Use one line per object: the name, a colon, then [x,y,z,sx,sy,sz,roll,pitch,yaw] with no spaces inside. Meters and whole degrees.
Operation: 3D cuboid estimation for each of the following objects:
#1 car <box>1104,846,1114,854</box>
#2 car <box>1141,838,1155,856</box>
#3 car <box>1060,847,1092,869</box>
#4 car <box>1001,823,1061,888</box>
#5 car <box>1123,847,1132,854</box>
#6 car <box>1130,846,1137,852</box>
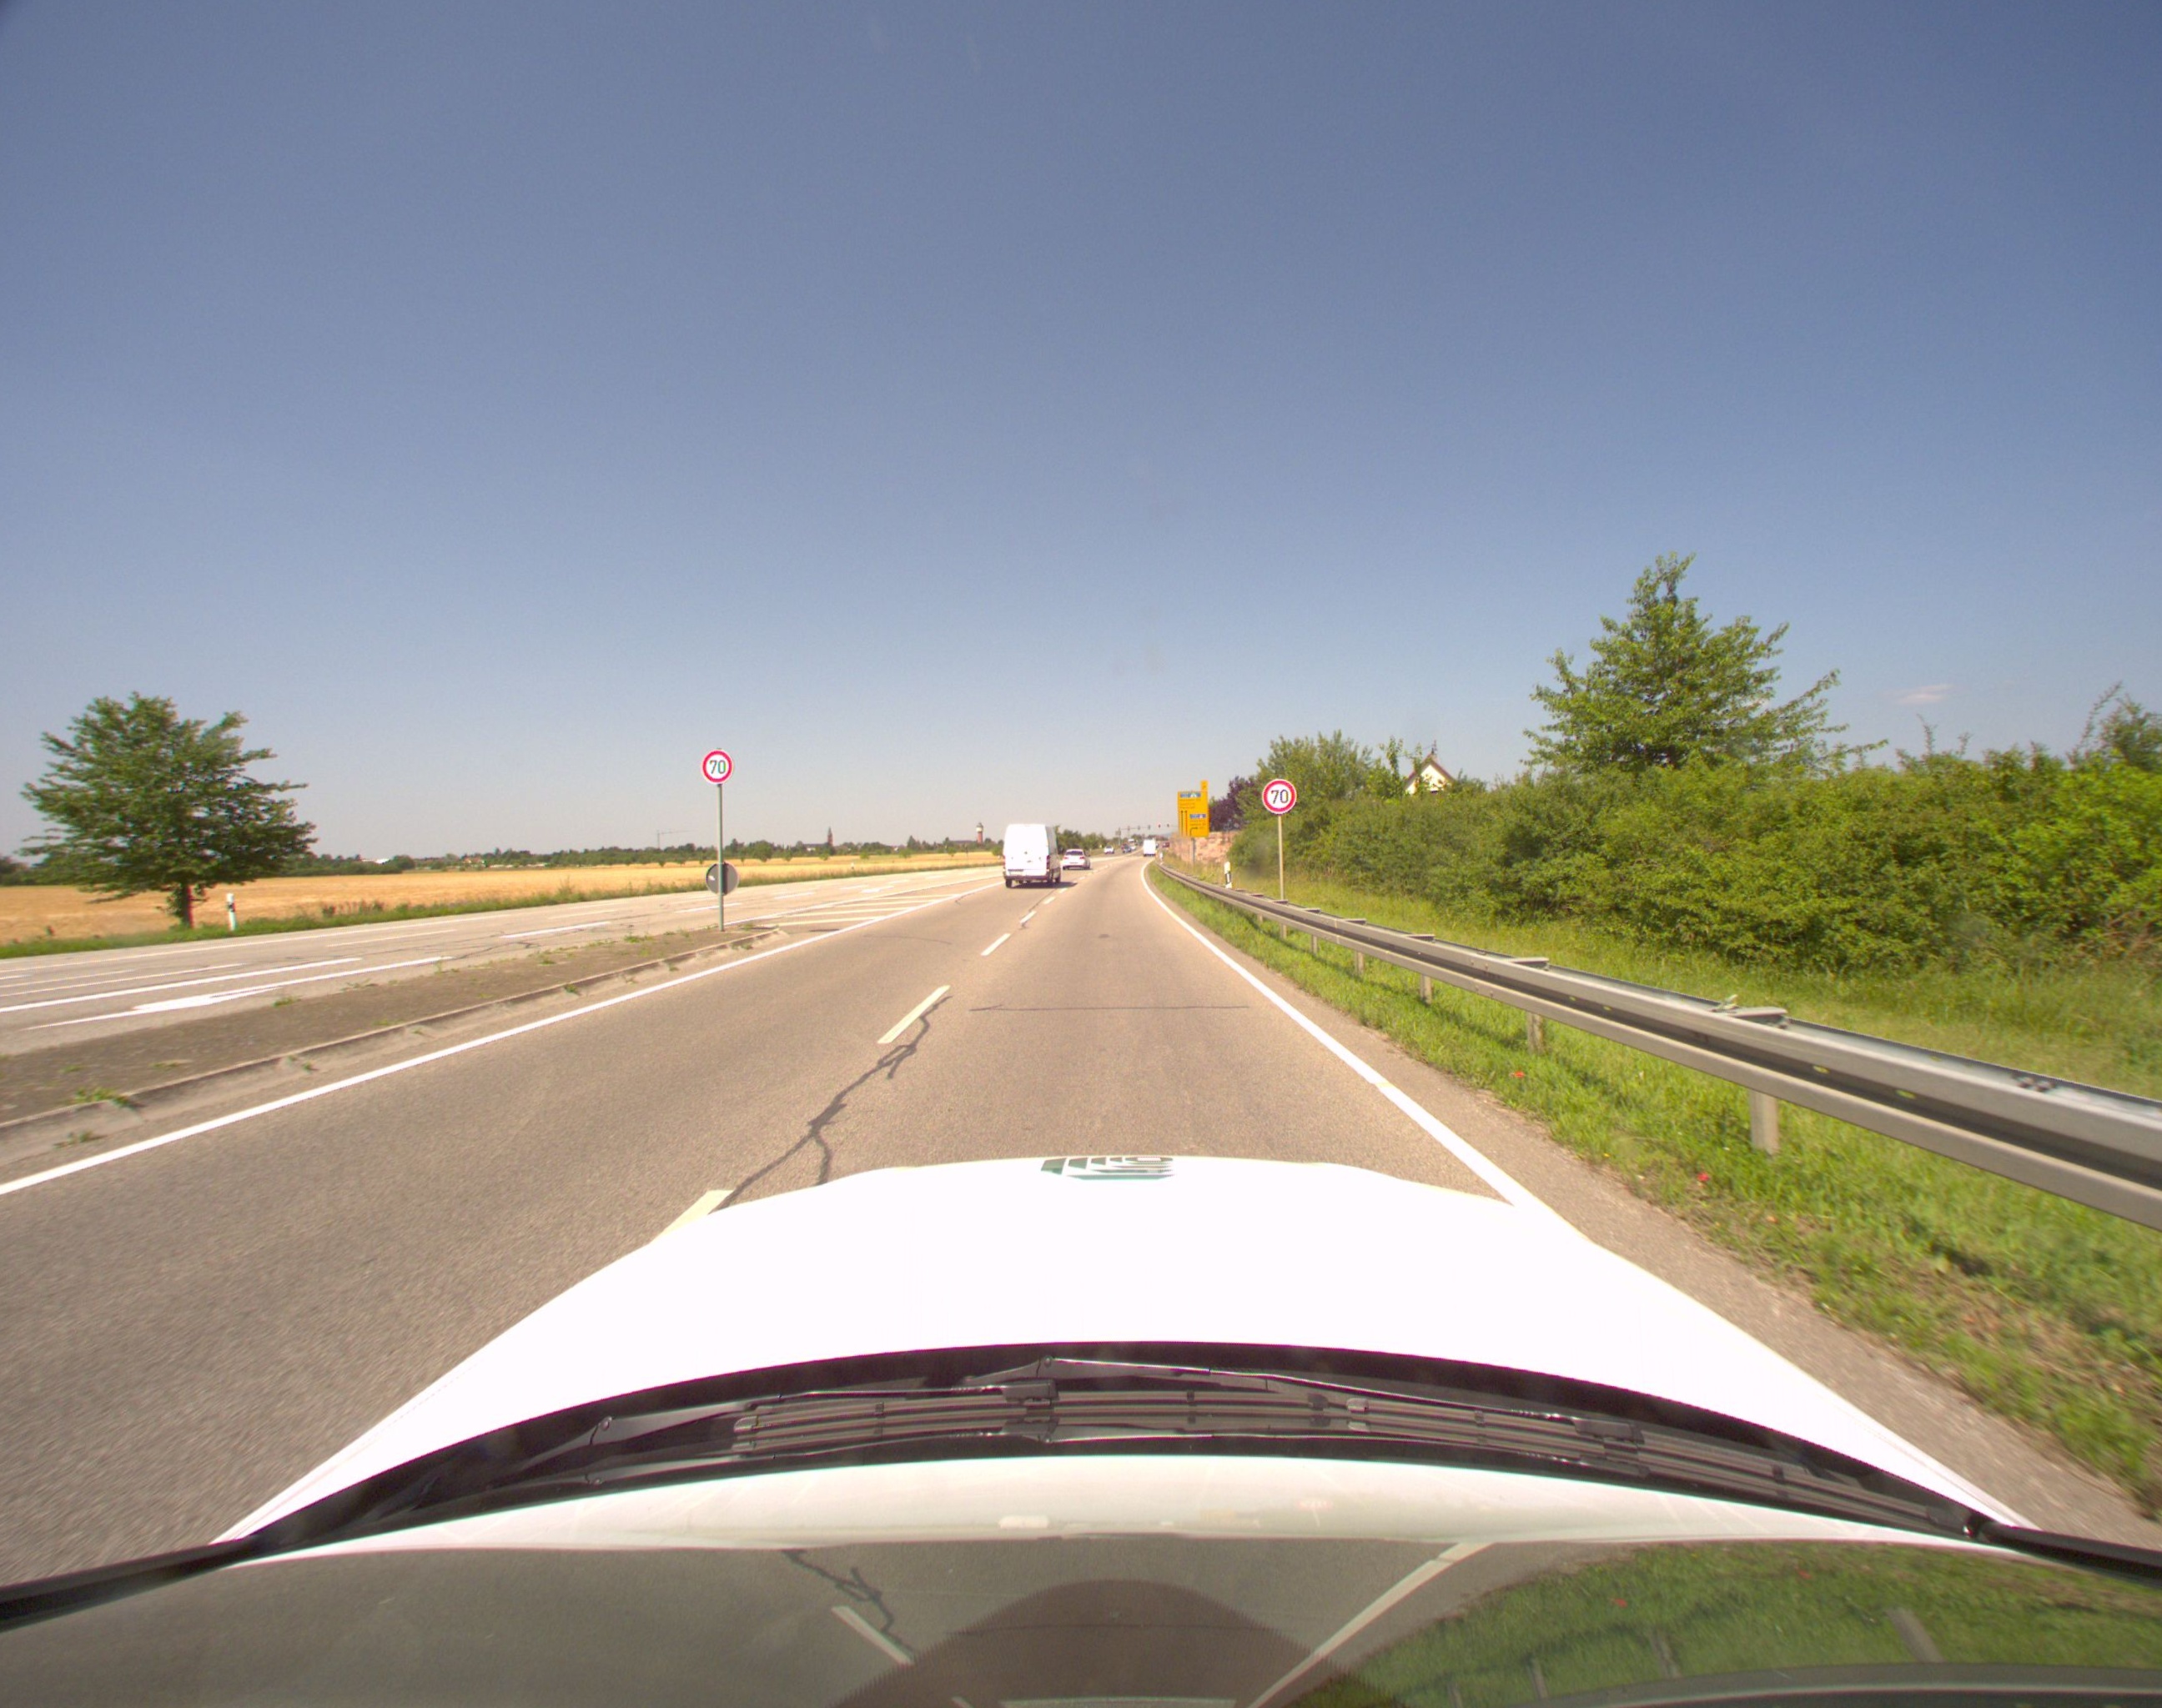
car: [5.937,-0.847,171.465,1.740,1.442,4.089,-2,0,7]
car: [10.368,-1.108,125.755,1.983,2.695,4.979,0,-1,7]
car: [-0.317,0.277,59.525,1.790,1.508,4.204,-1,1,7]
car: [-2.067,0.002,35.655,2.031,2.619,5.745,0,1,2]
car: [9.819,-0.765,172.492,1.740,1.442,4.089,-2,0,7]
car: [13.406,-1.254,207.403,1.740,1.442,4.089,0,0,7]
